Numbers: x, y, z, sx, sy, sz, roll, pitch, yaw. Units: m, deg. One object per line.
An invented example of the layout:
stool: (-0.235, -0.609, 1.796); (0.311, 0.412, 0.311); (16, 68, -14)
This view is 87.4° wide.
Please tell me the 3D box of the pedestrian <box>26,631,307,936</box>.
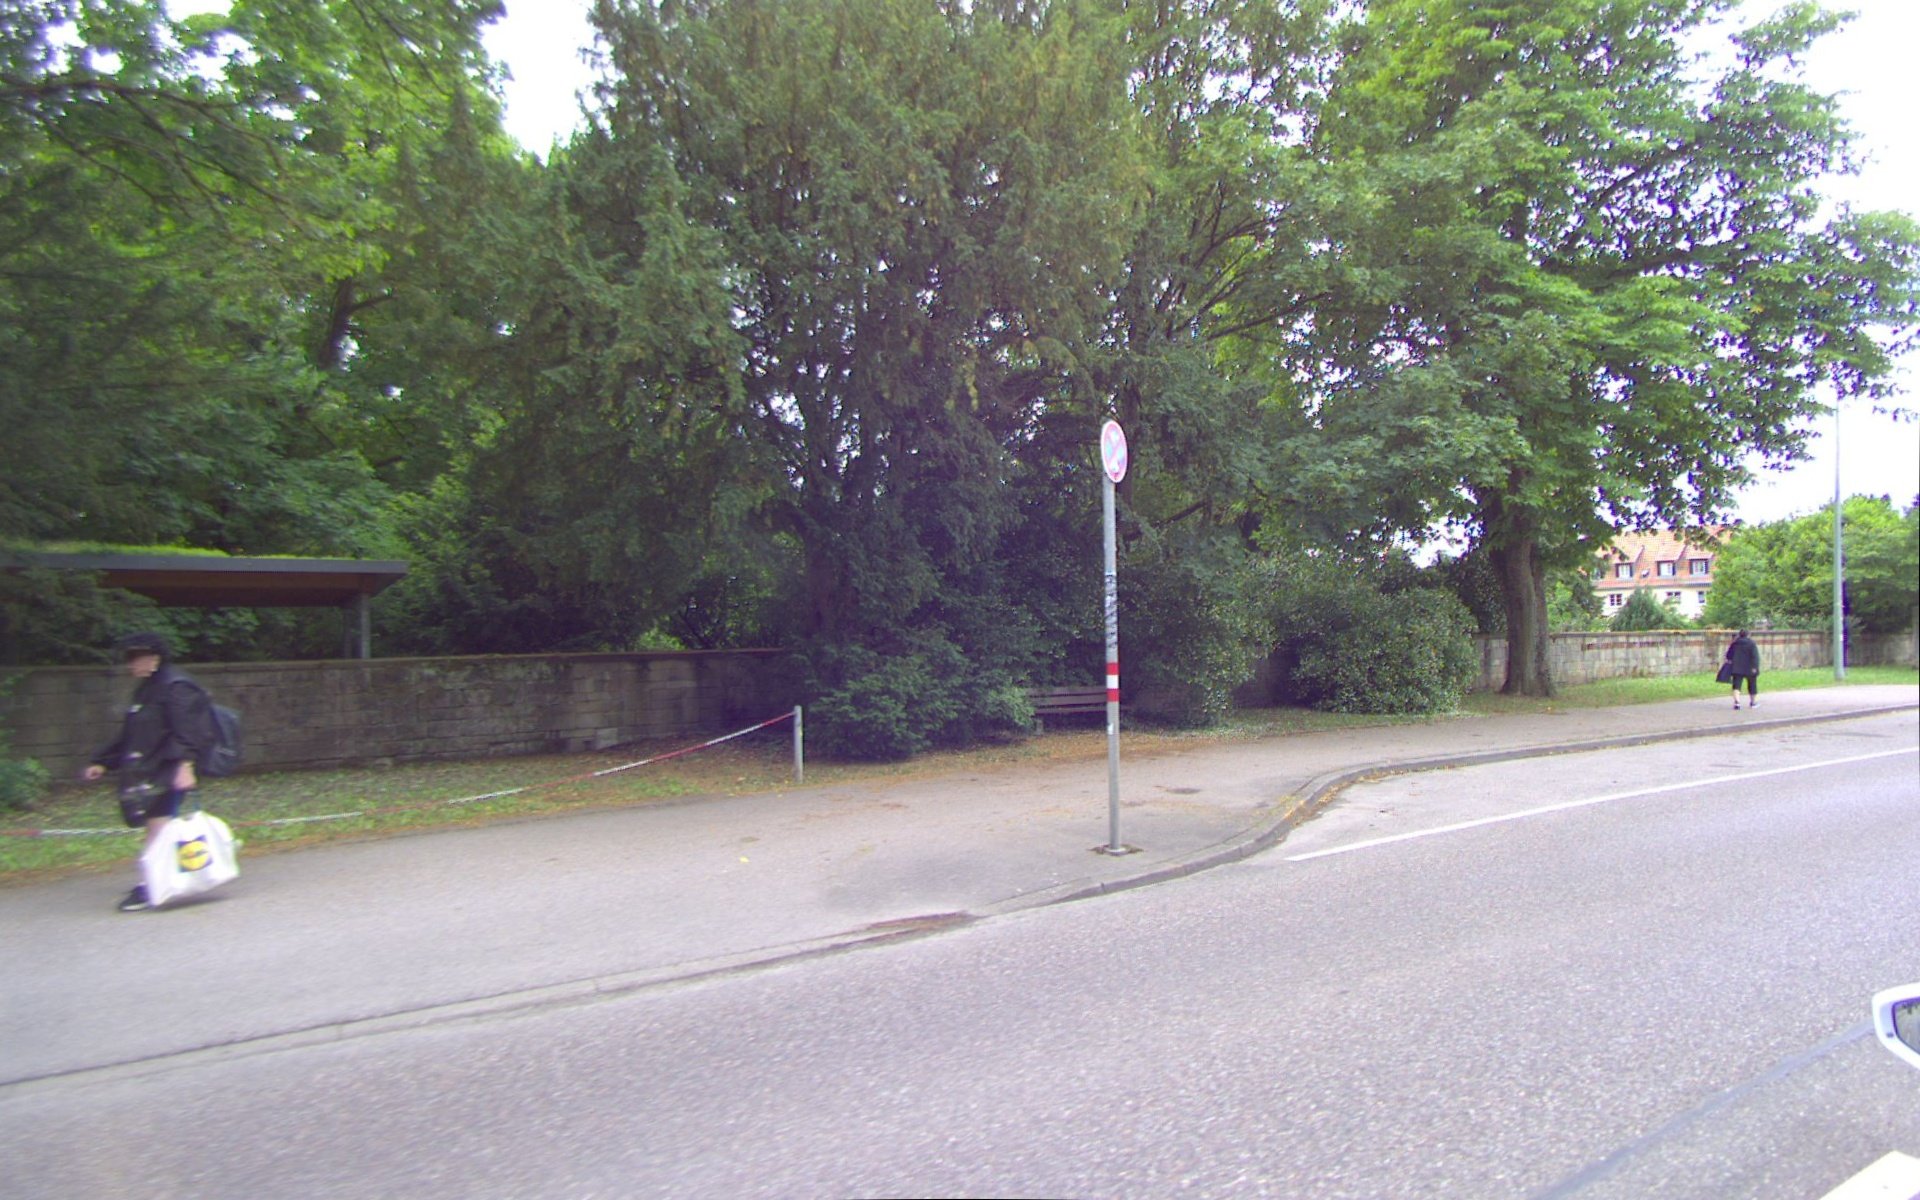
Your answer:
pedestrian: (-4.590, 0.986, 5.863); (0.910, 1.581, 0.903); (1, -1, 16)

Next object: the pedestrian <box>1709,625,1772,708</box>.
pedestrian: (15.489, 1.297, 19.934); (0.957, 1.599, 0.743); (1, -1, -36)
